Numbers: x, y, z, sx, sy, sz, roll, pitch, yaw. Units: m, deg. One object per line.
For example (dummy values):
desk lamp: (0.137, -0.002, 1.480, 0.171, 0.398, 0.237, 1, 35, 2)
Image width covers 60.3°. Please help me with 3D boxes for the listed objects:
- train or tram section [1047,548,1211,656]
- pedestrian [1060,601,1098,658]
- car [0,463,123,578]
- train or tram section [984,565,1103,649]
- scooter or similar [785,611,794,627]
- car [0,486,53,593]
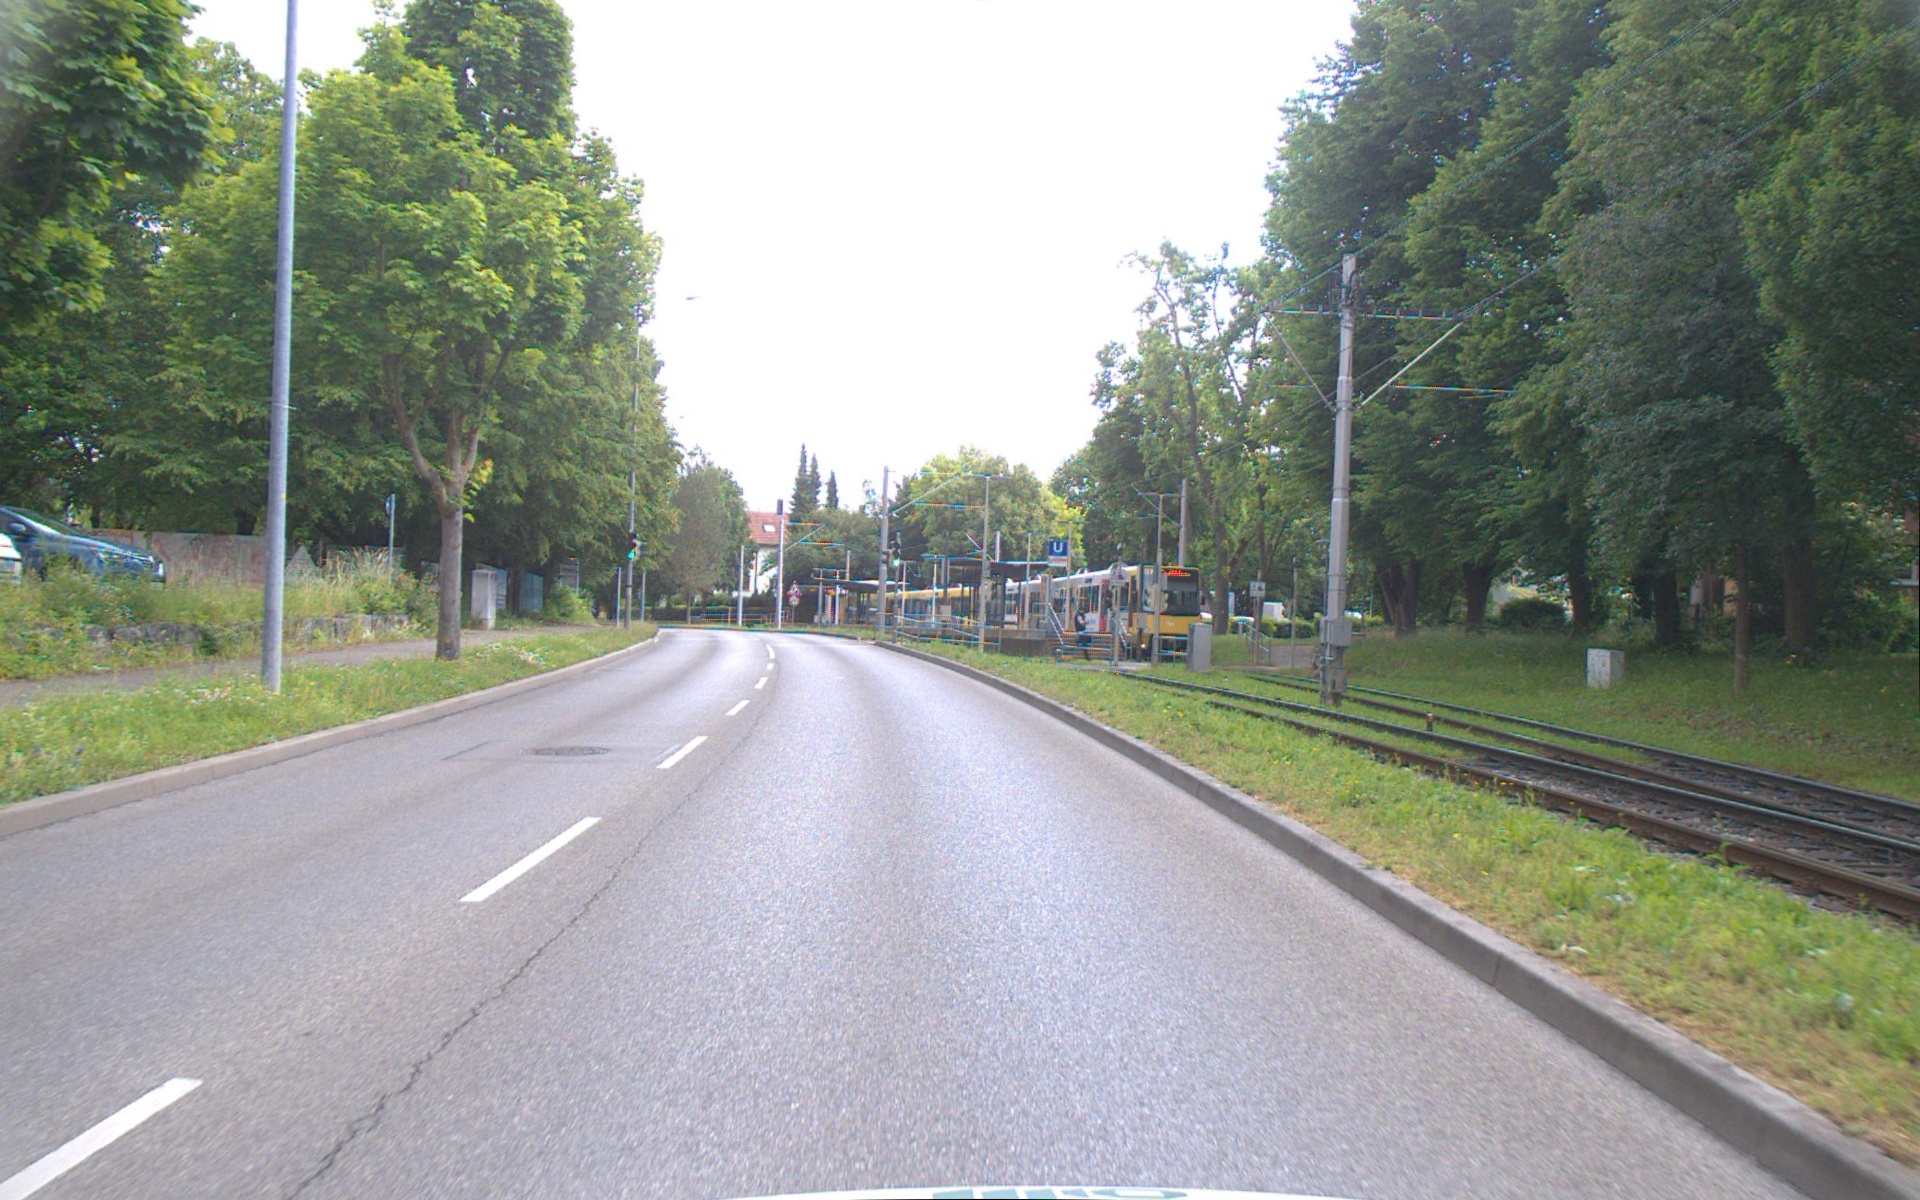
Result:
train or tram section: (6.655, 0.253, 69.550, 2.760, 3.802, 18.502, 3, -1, -7)
pedestrian: (3.888, 0.955, 53.998, 0.968, 1.788, 0.726, 3, -1, -17)
car: (-15.512, -1.254, 24.626, 5.052, 1.588, 1.885, 3, 0, -1)
train or tram section: (4.123, 0.516, 88.235, 2.761, 3.865, 18.897, 3, -1, -8)
scooter or similar: (-13.693, 1.541, 132.947, 0.424, 1.275, 1.245, 1, -3, -23)
car: (-14.212, -0.860, 21.155, 4.289, 1.339, 1.562, 3, 0, -1)
